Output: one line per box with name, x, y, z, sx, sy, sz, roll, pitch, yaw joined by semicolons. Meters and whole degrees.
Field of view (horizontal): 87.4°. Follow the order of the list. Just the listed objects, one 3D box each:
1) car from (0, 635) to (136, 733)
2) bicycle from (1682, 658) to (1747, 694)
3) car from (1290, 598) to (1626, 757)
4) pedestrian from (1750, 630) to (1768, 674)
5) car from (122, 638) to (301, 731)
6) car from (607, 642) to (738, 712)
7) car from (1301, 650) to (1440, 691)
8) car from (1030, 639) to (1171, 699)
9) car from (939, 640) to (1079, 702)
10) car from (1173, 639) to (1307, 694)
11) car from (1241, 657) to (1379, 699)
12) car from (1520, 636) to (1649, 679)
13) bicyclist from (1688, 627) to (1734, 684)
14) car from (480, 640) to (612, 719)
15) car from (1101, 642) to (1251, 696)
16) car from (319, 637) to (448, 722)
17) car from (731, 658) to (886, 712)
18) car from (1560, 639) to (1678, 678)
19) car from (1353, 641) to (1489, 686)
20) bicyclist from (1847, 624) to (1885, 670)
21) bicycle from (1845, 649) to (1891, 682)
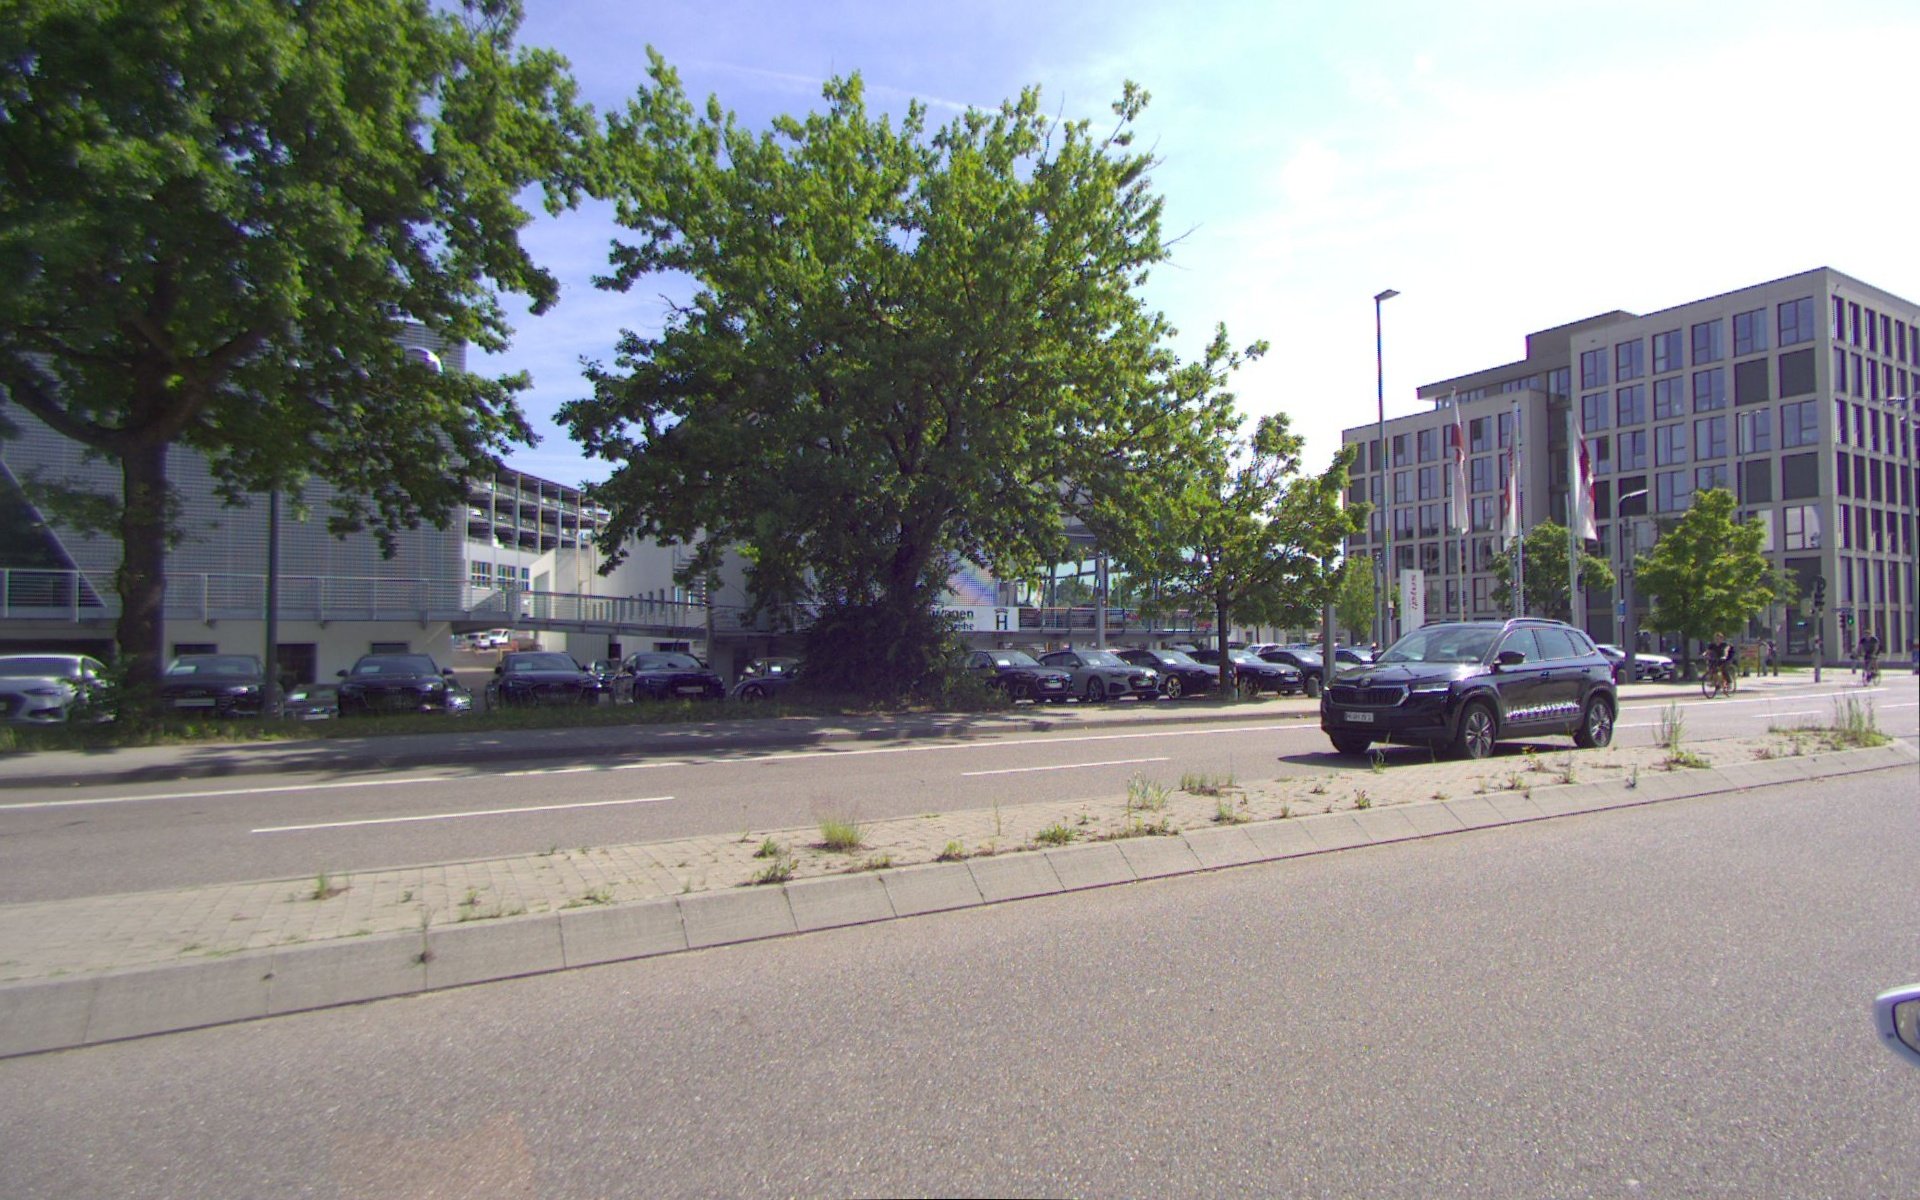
car;-15.428;1.445;16.656;1.976;1.460;3.973;1;-6;-29
bicycle;20.775;2.084;27.655;1.949;0.953;0.677;1;-3;-29
car;6.135;0.910;12.260;4.163;1.639;1.729;1;-5;-33
pedestrian;37.777;2.437;47.512;0.571;2.040;0.554;1;-1;-38
car;-13.329;1.556;18.176;1.976;1.460;4.233;1;-6;-29
car;-6.417;1.729;22.124;1.976;1.376;3.973;1;-6;-29
car;13.186;2.309;32.523;1.886;1.181;3.864;0;-5;-26
car;3.668;1.891;26.885;1.886;1.437;3.864;0;-5;-26
car;1.167;1.863;25.803;1.886;1.437;3.977;0;-5;-26
car;8.197;2.001;29.736;1.638;1.437;3.864;0;-5;-26
car;10.741;2.442;31.087;1.771;1.167;3.864;0;-5;-26
car;24.353;2.290;39.307;1.844;1.483;3.862;0;-5;-28
bicyclist;20.774;1.524;27.776;1.024;1.546;0.616;1;-3;-29
car;-8.708;1.689;20.907;2.027;1.460;4.288;1;-6;-30
car;6.003;2.001;28.411;2.010;1.348;4.156;0;-5;-26
car;-11.203;1.596;19.672;1.976;1.460;4.125;1;-6;-29
car;-4.040;2.259;26.658;3.930;1.272;1.588;-5;-5;29
car;26.484;2.377;40.475;1.620;1.375;3.581;0;-5;-28
car;15.541;2.191;34.034;1.824;1.350;3.864;0;-5;-26
bicyclist;30.165;1.566;33.448;1.016;1.521;0.627;1;-3;-30
bicycle;30.278;2.191;33.481;1.854;1.065;0.582;1;-4;-31
